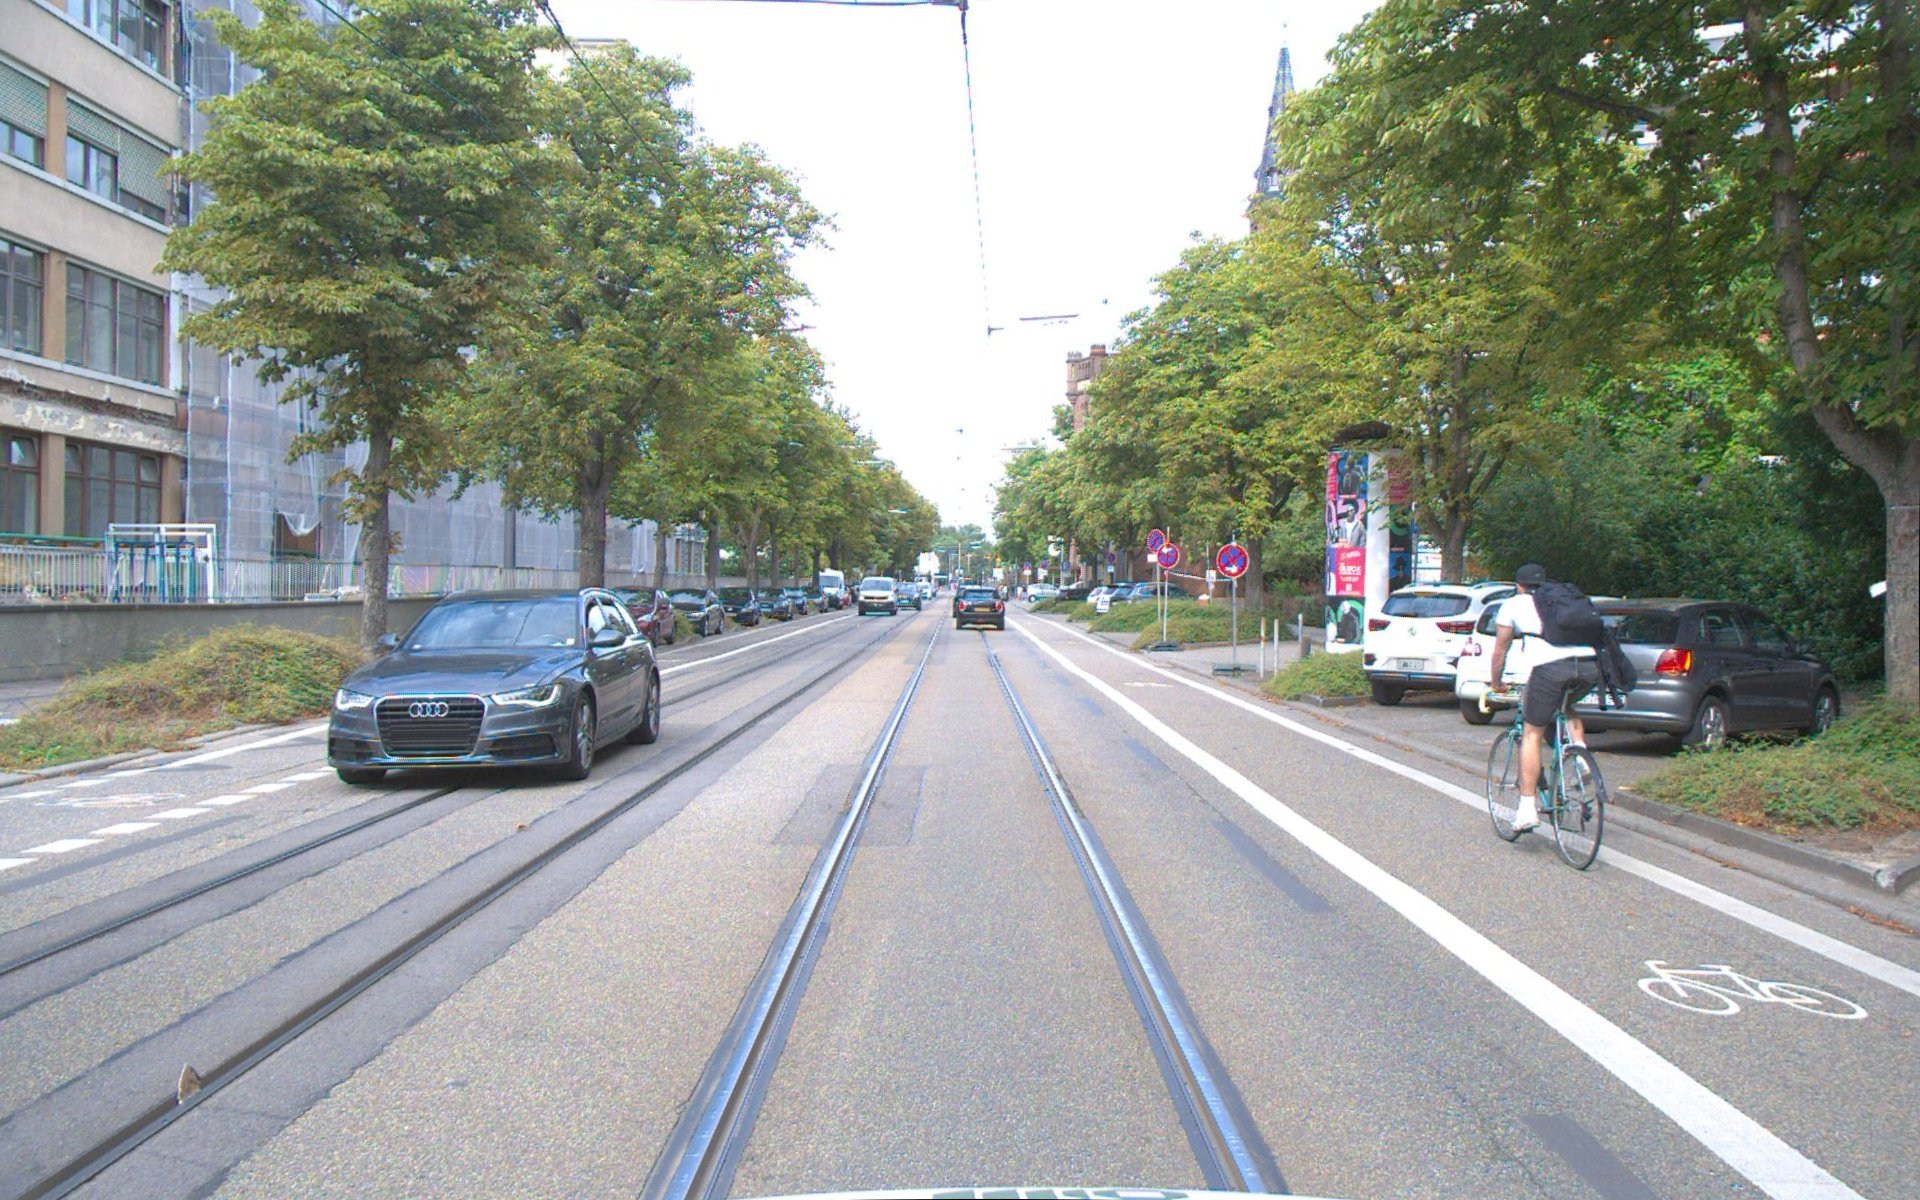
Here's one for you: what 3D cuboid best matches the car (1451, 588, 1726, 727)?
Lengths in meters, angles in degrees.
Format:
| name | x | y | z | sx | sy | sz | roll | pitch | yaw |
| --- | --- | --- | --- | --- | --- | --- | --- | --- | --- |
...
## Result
| name | x | y | z | sx | sy | sz | roll | pitch | yaw |
| --- | --- | --- | --- | --- | --- | --- | --- | --- | --- |
| car | 7.421 | 0.618 | 19.423 | 3.414 | 1.468 | 1.538 | 0 | 1 | -39 |

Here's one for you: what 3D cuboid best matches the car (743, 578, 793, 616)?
| name | x | y | z | sx | sy | sz | roll | pitch | yaw |
| --- | --- | --- | --- | --- | --- | --- | --- | --- | --- |
| car | -8.379 | -0.138 | 72.579 | 1.766 | 1.611 | 4.030 | 0 | 0 | -1 |

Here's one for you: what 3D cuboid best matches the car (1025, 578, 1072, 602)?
| name | x | y | z | sx | sy | sz | roll | pitch | yaw |
| --- | --- | --- | --- | --- | --- | --- | --- | --- | --- |
| car | 7.777 | -0.883 | 145.255 | 3.907 | 1.944 | 1.999 | 2 | 1 | -3 |

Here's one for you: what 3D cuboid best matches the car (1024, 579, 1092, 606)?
| name | x | y | z | sx | sy | sz | roll | pitch | yaw |
| --- | --- | --- | --- | --- | --- | --- | --- | --- | --- |
| car | 5.848 | -0.439 | 99.060 | 3.907 | 1.534 | 1.884 | 1 | 1 | -3 |

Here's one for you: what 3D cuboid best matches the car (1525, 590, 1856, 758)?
| name | x | y | z | sx | sy | sz | roll | pitch | yaw |
| --- | --- | --- | --- | --- | --- | --- | --- | --- | --- |
| car | 7.284 | 0.661 | 16.372 | 3.501 | 1.468 | 1.601 | 0 | 1 | -39 |

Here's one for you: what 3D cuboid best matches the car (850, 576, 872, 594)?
| name | x | y | z | sx | sy | sz | roll | pitch | yaw |
| --- | --- | --- | --- | --- | --- | --- | --- | --- | --- |
| car | -8.884 | -1.325 | 149.269 | 1.766 | 1.611 | 4.030 | 0 | 0 | -1 |

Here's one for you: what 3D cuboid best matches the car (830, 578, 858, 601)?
| name | x | y | z | sx | sy | sz | roll | pitch | yaw |
| --- | --- | --- | --- | --- | --- | --- | --- | --- | --- |
| car | -8.307 | -0.763 | 118.543 | 1.766 | 1.611 | 4.030 | 0 | 0 | -1 |

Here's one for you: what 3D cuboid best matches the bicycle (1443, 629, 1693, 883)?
| name | x | y | z | sx | sy | sz | roll | pitch | yaw |
| --- | --- | --- | --- | --- | --- | --- | --- | --- | --- |
| bicycle | 3.562 | 0.854 | 9.903 | 0.644 | 1.270 | 2.124 | 1 | 1 | -1 |

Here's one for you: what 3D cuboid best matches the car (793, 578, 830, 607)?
| name | x | y | z | sx | sy | sz | roll | pitch | yaw |
| --- | --- | --- | --- | --- | --- | --- | --- | --- | --- |
| car | -8.336 | -0.419 | 92.945 | 1.766 | 1.611 | 4.030 | 0 | 0 | -1 |

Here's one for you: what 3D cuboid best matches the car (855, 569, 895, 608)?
| name | x | y | z | sx | sy | sz | roll | pitch | yaw |
| --- | --- | --- | --- | --- | --- | --- | --- | --- | --- |
| car | -4.118 | -0.562 | 80.721 | 1.766 | 1.855 | 4.484 | 0 | 0 | -1 |

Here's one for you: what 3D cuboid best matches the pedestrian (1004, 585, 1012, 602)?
| name | x | y | z | sx | sy | sz | roll | pitch | yaw |
| --- | --- | --- | --- | --- | --- | --- | --- | --- | --- |
| pedestrian | 4.877 | -0.664 | 167.112 | 0.711 | 1.674 | 0.767 | 2 | 1 | 10 |

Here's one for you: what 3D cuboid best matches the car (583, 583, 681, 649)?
| name | x | y | z | sx | sy | sz | roll | pitch | yaw |
| --- | --- | --- | --- | --- | --- | --- | --- | --- | --- |
| car | -8.425 | 0.378 | 42.740 | 1.766 | 1.611 | 4.030 | 0 | 0 | -1 |

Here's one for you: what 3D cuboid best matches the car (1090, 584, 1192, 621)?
| name | x | y | z | sx | sy | sz | roll | pitch | yaw |
| --- | --- | --- | --- | --- | --- | --- | --- | --- | --- |
| car | 7.403 | 0.093 | 68.036 | 3.907 | 1.449 | 1.884 | 1 | 1 | -3 |

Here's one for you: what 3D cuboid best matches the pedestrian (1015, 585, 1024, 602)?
| name | x | y | z | sx | sy | sz | roll | pitch | yaw |
| --- | --- | --- | --- | --- | --- | --- | --- | --- | --- |
| pedestrian | 6.044 | -0.648 | 168.205 | 0.711 | 1.674 | 0.767 | 2 | 1 | 10 |

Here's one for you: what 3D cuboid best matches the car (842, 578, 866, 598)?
| name | x | y | z | sx | sy | sz | roll | pitch | yaw |
| --- | --- | --- | --- | --- | --- | --- | --- | --- | --- |
| car | -8.805 | -1.006 | 137.788 | 1.766 | 1.611 | 4.030 | 0 | 0 | -1 |

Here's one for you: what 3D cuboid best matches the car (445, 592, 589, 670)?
| name | x | y | z | sx | sy | sz | roll | pitch | yaw |
| --- | --- | --- | --- | --- | --- | --- | --- | --- | --- |
| car | -8.579 | 0.552 | 32.347 | 1.766 | 1.398 | 4.030 | 0 | 0 | -1 |

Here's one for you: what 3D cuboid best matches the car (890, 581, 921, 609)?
| name | x | y | z | sx | sy | sz | roll | pitch | yaw |
| --- | --- | --- | --- | --- | --- | --- | --- | --- | --- |
| car | -3.311 | -0.295 | 100.632 | 1.766 | 1.650 | 4.484 | 0 | 0 | -1 |

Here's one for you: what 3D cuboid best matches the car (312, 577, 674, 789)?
| name | x | y | z | sx | sy | sz | roll | pitch | yaw |
| --- | --- | --- | --- | --- | --- | --- | --- | --- | --- |
| car | -3.683 | 0.559 | 13.942 | 1.797 | 1.473 | 4.553 | 1 | 1 | -1 |

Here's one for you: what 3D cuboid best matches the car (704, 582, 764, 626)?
| name | x | y | z | sx | sy | sz | roll | pitch | yaw |
| --- | --- | --- | --- | --- | --- | --- | --- | --- | --- |
| car | -8.488 | 0.126 | 62.344 | 1.766 | 1.611 | 4.030 | 0 | 0 | -1 |

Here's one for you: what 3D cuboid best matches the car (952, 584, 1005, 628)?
| name | x | y | z | sx | sy | sz | roll | pitch | yaw |
| --- | --- | --- | --- | --- | --- | --- | --- | --- | --- |
| car | 0.613 | 0.181 | 57.765 | 1.757 | 1.448 | 4.000 | 1 | 1 | -1 |

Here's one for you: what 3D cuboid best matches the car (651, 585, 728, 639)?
| name | x | y | z | sx | sy | sz | roll | pitch | yaw |
| --- | --- | --- | --- | --- | --- | --- | --- | --- | --- |
| car | -8.386 | 0.349 | 51.611 | 1.766 | 1.611 | 4.030 | 0 | 0 | -1 |

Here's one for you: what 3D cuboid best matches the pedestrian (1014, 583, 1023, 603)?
| name | x | y | z | sx | sy | sz | roll | pitch | yaw |
| --- | --- | --- | --- | --- | --- | --- | --- | --- | --- |
| pedestrian | 5.061 | -0.633 | 143.526 | 0.711 | 1.674 | 0.767 | 1 | 1 | 1 |

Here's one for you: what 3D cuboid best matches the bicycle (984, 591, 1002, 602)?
| name | x | y | z | sx | sy | sz | roll | pitch | yaw |
| --- | --- | --- | --- | --- | --- | --- | --- | --- | --- |
| bicycle | 3.308 | -0.380 | 167.223 | 1.684 | 1.009 | 0.659 | 2 | 1 | 8 |

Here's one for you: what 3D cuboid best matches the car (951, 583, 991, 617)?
| name | x | y | z | sx | sy | sz | roll | pitch | yaw |
| --- | --- | --- | --- | --- | --- | --- | --- | --- | --- |
| car | 0.496 | -0.027 | 77.356 | 1.757 | 1.495 | 4.000 | 2 | 1 | 0 |

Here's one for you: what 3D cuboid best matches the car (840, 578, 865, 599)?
| name | x | y | z | sx | sy | sz | roll | pitch | yaw |
| --- | --- | --- | --- | --- | --- | --- | --- | --- | --- |
| car | -8.535 | -0.941 | 131.645 | 1.766 | 1.611 | 4.030 | 0 | 0 | -1 |

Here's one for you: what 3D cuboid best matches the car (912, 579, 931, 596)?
| name | x | y | z | sx | sy | sz | roll | pitch | yaw |
| --- | --- | --- | --- | --- | --- | --- | --- | --- | --- |
| car | -3.880 | -1.238 | 167.029 | 1.766 | 1.650 | 4.484 | 0 | 0 | -1 |

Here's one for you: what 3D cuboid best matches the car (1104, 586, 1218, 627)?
| name | x | y | z | sx | sy | sz | roll | pitch | yaw |
| --- | --- | --- | --- | --- | --- | --- | --- | --- | --- |
| car | 7.406 | 0.220 | 61.135 | 3.907 | 1.449 | 1.884 | 1 | 1 | -3 |

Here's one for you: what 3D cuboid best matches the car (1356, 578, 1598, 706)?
| name | x | y | z | sx | sy | sz | roll | pitch | yaw |
| --- | --- | --- | --- | --- | --- | --- | --- | --- | --- |
| car | 7.071 | 0.532 | 22.520 | 3.414 | 1.600 | 1.538 | 0 | 1 | -39 |

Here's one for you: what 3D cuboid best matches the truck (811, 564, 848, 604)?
| name | x | y | z | sx | sy | sz | roll | pitch | yaw |
| --- | --- | --- | --- | --- | --- | --- | --- | --- | --- |
| truck | -8.333 | -1.032 | 106.018 | 2.029 | 2.513 | 4.898 | 0 | 0 | -1 |

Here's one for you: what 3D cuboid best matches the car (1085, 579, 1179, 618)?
| name | x | y | z | sx | sy | sz | roll | pitch | yaw |
| --- | --- | --- | --- | --- | --- | --- | --- | --- | --- |
| car | 7.625 | -0.082 | 73.441 | 3.907 | 1.656 | 1.884 | 1 | 0 | -3 |

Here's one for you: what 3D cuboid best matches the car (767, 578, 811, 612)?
| name | x | y | z | sx | sy | sz | roll | pitch | yaw |
| --- | --- | --- | --- | --- | --- | --- | --- | --- | --- |
| car | -8.426 | -0.262 | 81.681 | 1.766 | 1.611 | 4.030 | 0 | 0 | -1 |

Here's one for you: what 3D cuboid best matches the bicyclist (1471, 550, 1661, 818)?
| name | x | y | z | sx | sy | sz | roll | pitch | yaw |
| --- | --- | --- | --- | --- | --- | --- | --- | --- | --- |
| bicyclist | 3.584 | 0.463 | 9.870 | 0.644 | 1.489 | 1.178 | 1 | 1 | -1 |
